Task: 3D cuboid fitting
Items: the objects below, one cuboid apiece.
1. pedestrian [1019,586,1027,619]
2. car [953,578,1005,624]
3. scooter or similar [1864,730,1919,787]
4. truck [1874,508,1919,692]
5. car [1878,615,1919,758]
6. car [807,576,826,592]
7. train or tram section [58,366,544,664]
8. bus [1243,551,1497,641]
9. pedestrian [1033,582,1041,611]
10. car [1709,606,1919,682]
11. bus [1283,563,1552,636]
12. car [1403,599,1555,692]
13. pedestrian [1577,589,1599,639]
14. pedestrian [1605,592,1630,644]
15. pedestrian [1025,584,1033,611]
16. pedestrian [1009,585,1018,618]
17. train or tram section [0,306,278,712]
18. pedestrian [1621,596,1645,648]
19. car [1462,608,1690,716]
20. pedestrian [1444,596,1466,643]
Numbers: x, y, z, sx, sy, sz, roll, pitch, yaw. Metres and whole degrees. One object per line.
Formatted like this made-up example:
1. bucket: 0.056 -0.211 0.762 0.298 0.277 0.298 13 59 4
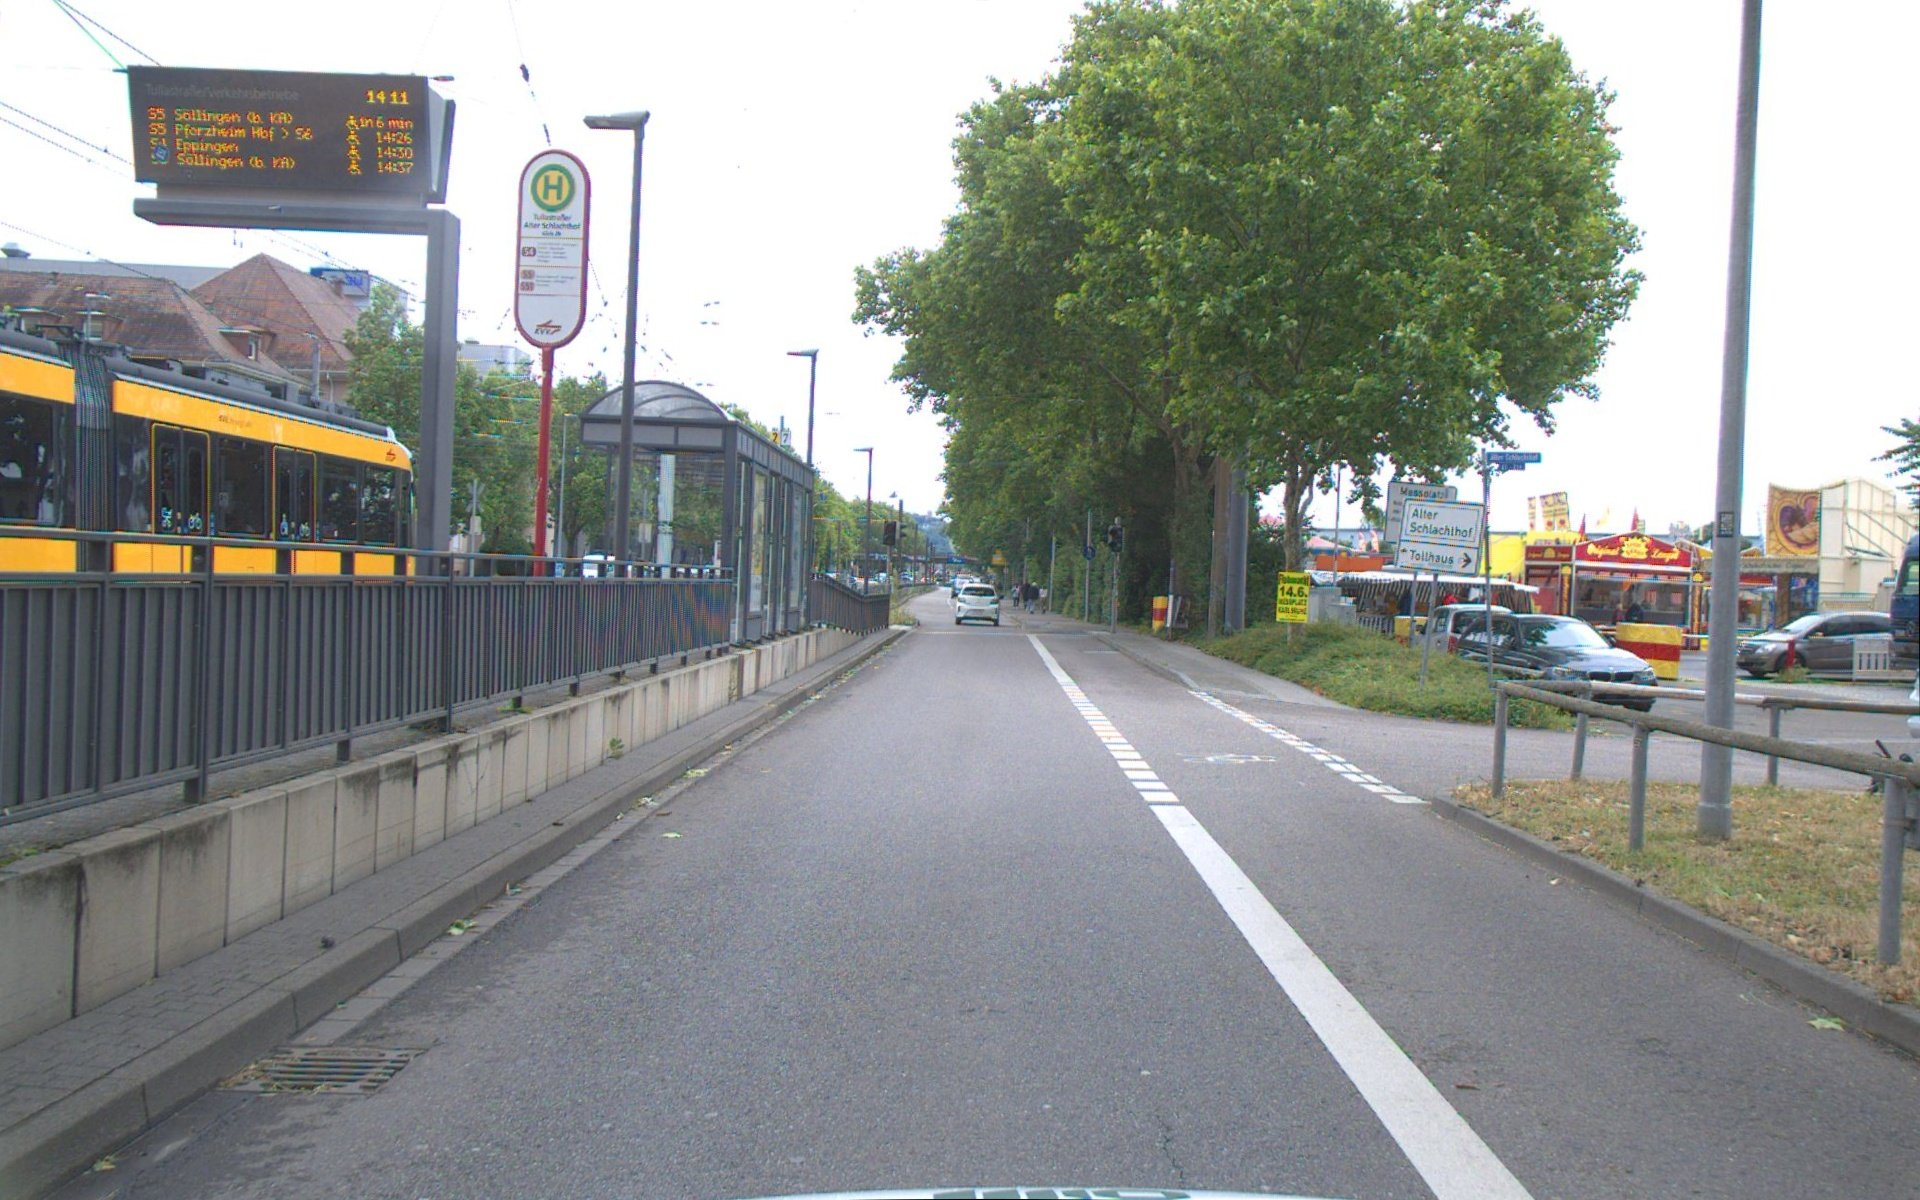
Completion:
1. pedestrian: 3.928 0.150 103.327 0.387 2.049 0.403 2 0 16
2. car: 0.729 0.020 60.916 1.802 1.579 4.001 1 1 2
3. scooter or similar: 8.504 1.377 14.252 1.153 0.355 1.330 1 0 25
4. truck: 24.216 0.136 35.207 8.024 3.889 2.599 2 0 -1
5. car: 11.970 0.971 17.100 3.906 1.478 1.891 2 0 -2
6. car: -16.629 -1.868 191.919 1.954 1.825 3.997 2 0 -3
7. train or tram section: -11.472 -1.262 31.517 3.115 4.251 14.735 2 0 1
8. bus: 15.470 -0.145 62.659 9.091 3.011 1.999 2 0 -2
9. pedestrian: 4.313 -0.173 92.791 0.387 1.613 0.538 2 0 5
10. car: 20.351 1.027 38.950 4.480 1.603 2.000 2 0 -1
11. bus: 16.393 -0.032 59.496 9.091 2.266 1.999 2 0 -2
12. car: 10.002 0.827 32.171 1.824 1.622 4.001 2 0 2
13. pedestrian: 22.144 0.493 58.322 0.483 1.716 0.523 2 0 -2
14. pedestrian: 21.823 0.599 54.892 0.513 1.716 0.492 2 0 -16
15. pedestrian: 3.883 -0.141 92.792 0.387 1.469 0.563 2 0 5
16. pedestrian: 3.340 0.104 103.397 0.387 2.049 0.403 2 0 16
17. train or tram section: -11.643 -0.994 16.752 3.115 4.251 14.735 2 0 1
18. pedestrian: 22.585 0.737 55.516 0.513 1.716 0.492 2 0 -16
19. car: 9.494 0.910 25.853 1.826 1.455 3.997 2 0 -4
20. pedestrian: 15.856 0.612 52.977 0.483 1.488 0.523 2 0 -2
